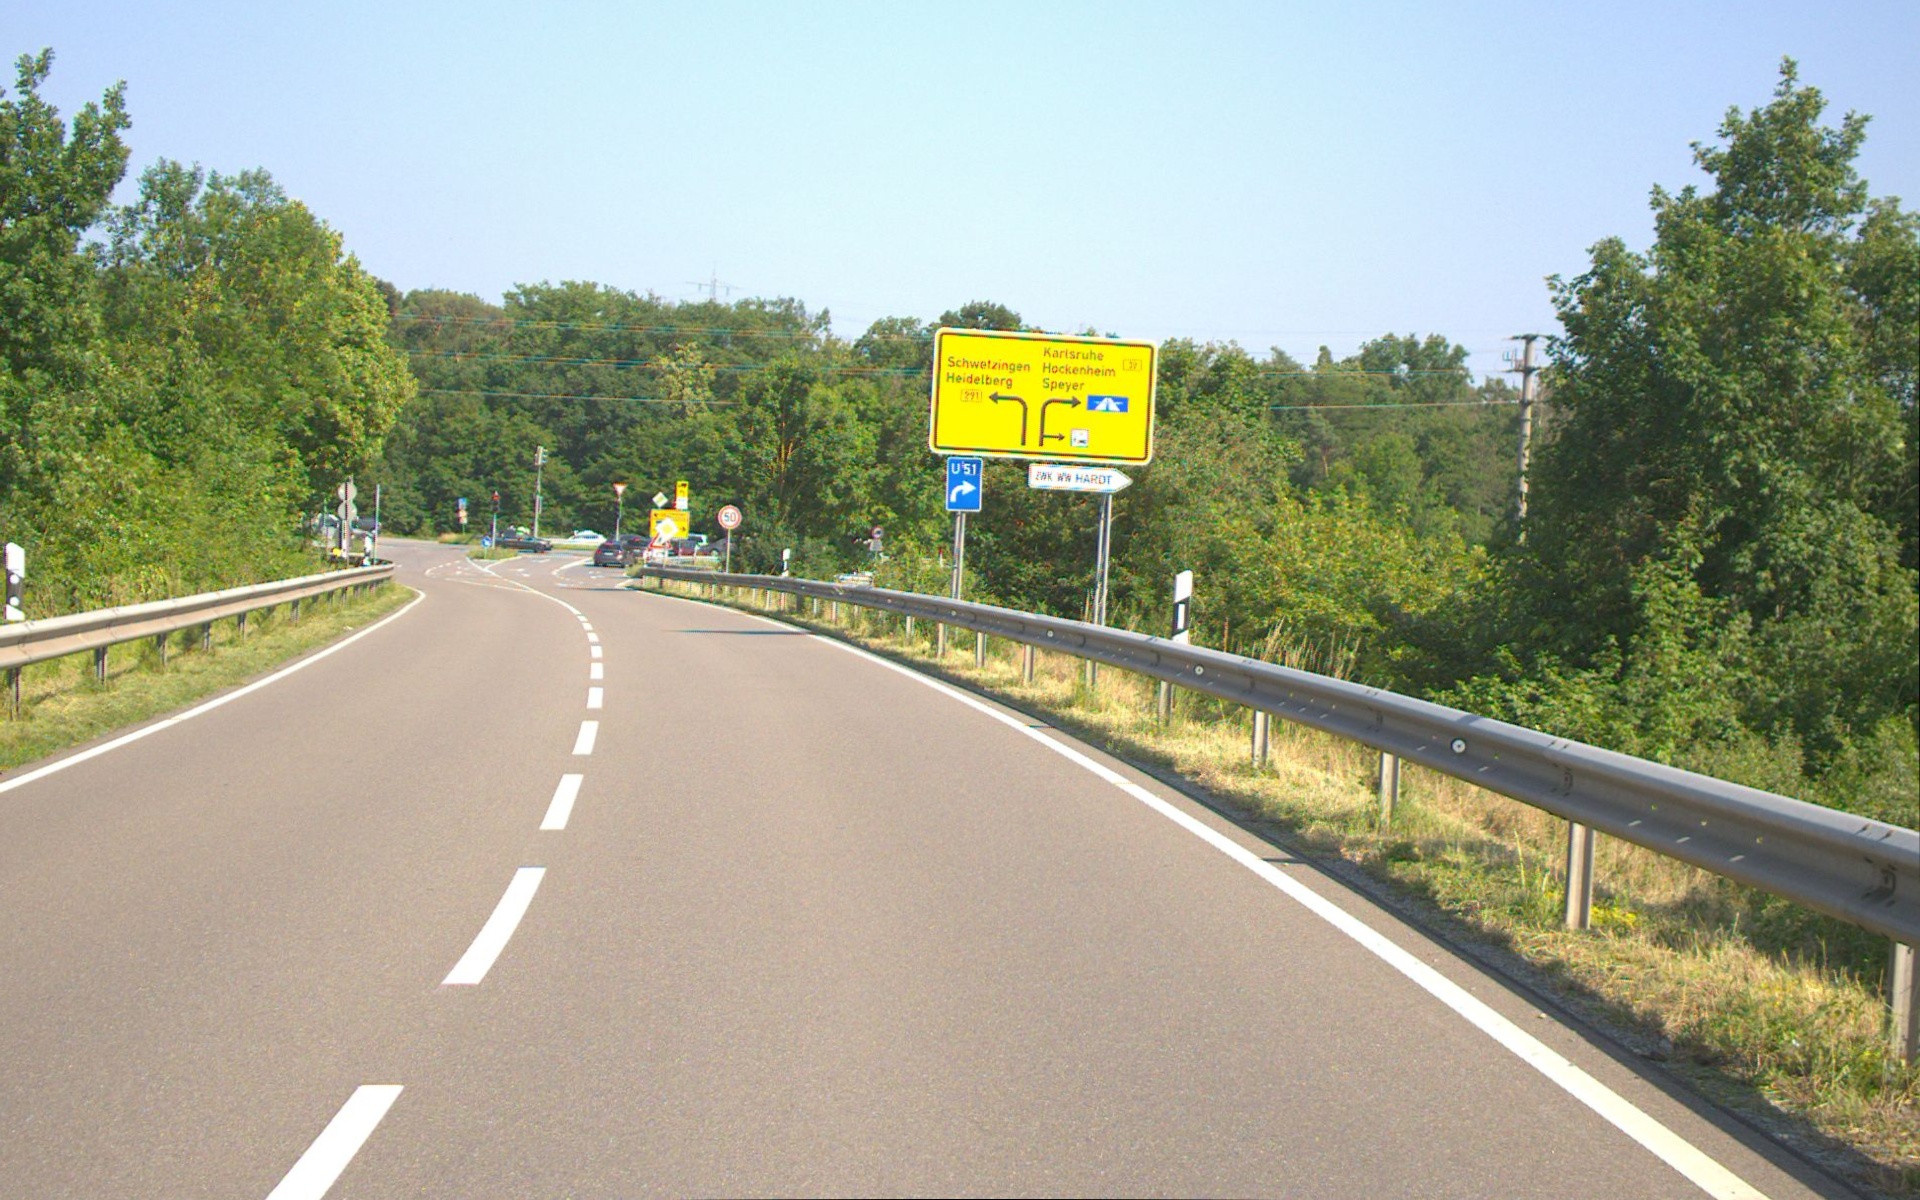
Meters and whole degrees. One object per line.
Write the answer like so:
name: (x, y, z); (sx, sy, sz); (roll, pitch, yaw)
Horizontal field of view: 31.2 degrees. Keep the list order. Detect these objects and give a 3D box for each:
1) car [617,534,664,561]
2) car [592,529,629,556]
car: (-19.095, -3.140, 205.444); (1.800, 1.496, 3.999); (3, 1, 9)
car: (-20.133, -3.323, 197.921); (1.799, 1.393, 4.001); (-4, 1, -3)
